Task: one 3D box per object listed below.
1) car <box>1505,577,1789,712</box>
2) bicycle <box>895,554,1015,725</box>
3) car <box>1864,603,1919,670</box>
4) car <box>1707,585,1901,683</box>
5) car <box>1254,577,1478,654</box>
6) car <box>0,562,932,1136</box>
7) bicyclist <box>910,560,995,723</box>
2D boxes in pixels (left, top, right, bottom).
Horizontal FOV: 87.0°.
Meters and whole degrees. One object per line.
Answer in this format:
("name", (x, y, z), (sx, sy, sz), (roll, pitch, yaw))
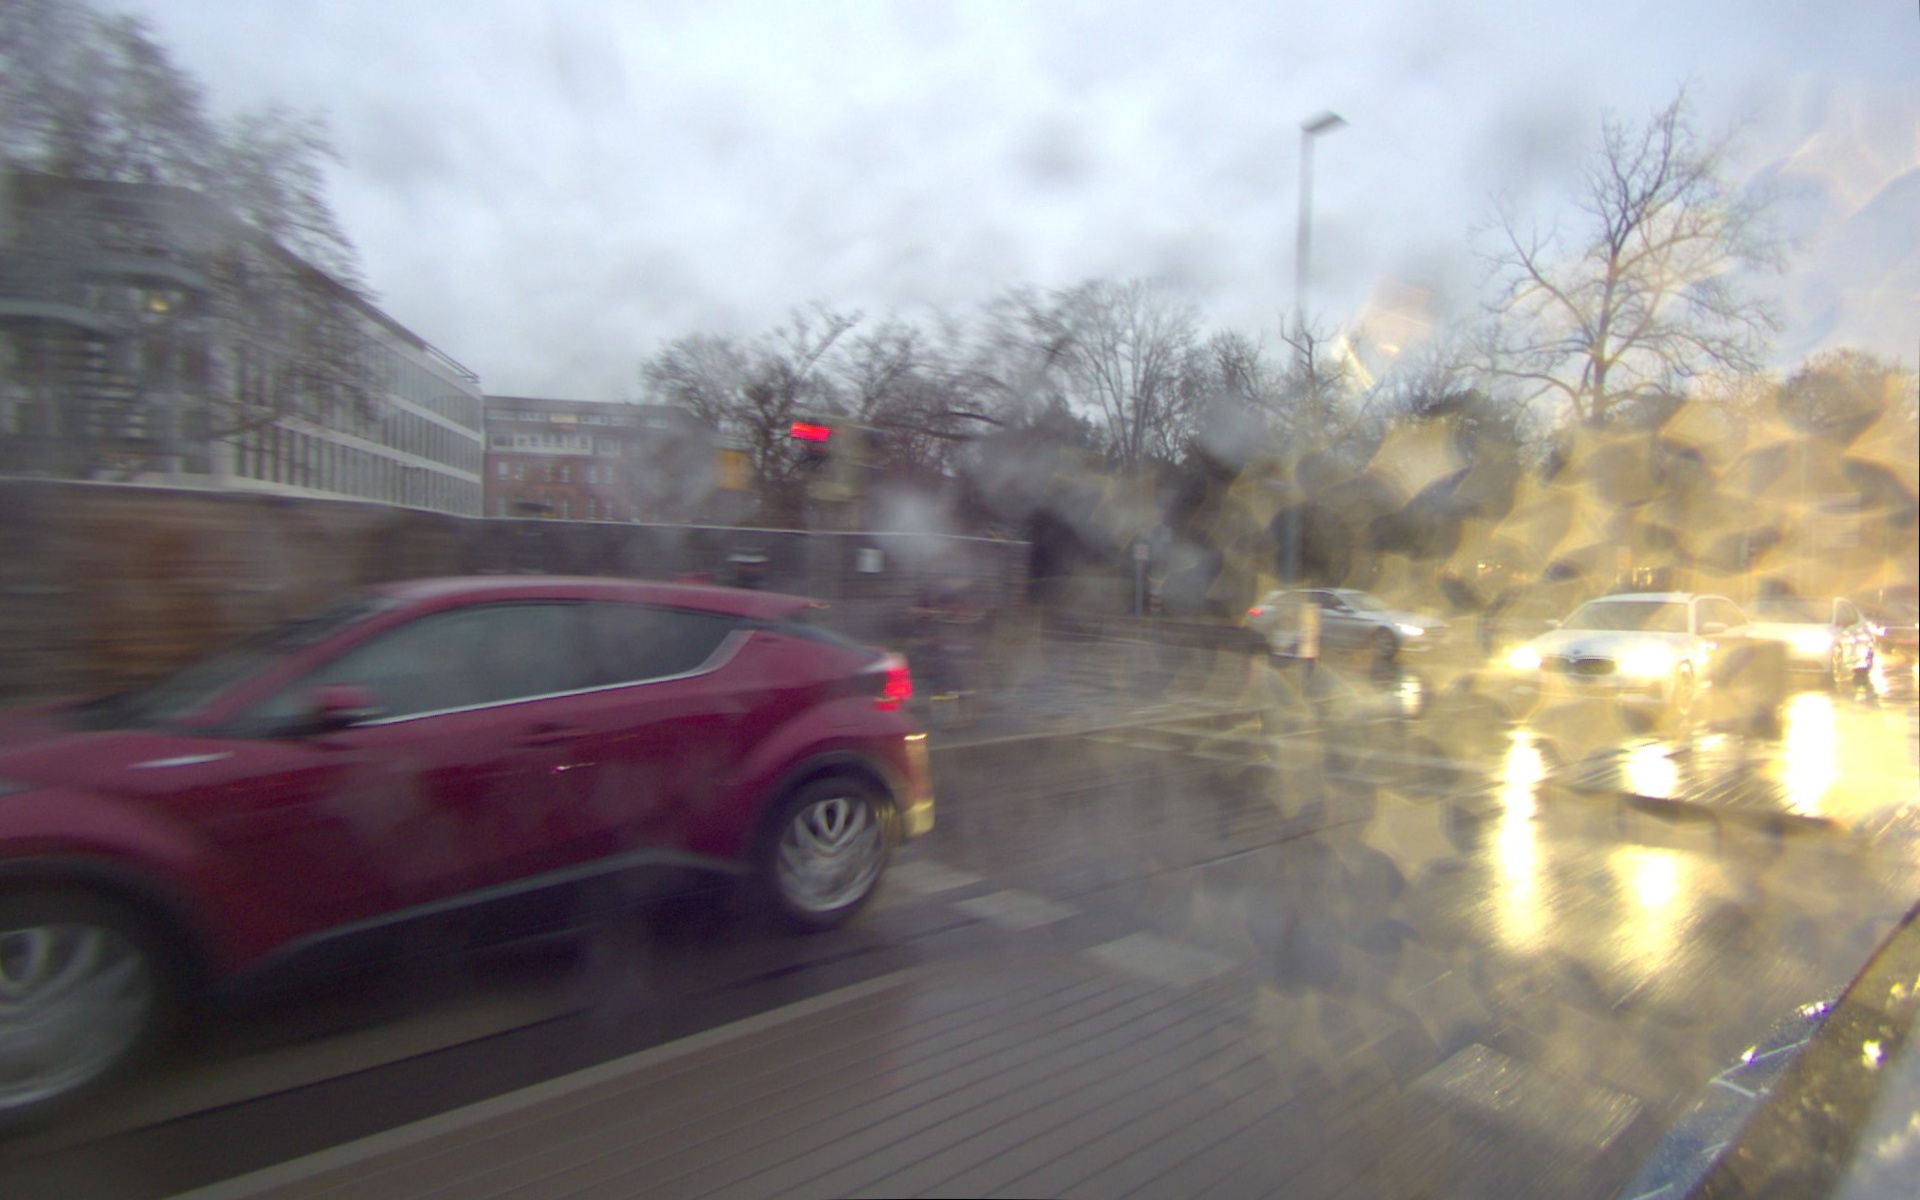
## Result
("car", (9.394, 0.455, 13.679), (4.877, 1.520, 1.791), (-1, 1, -38))
("bicycle", (-0.113, 0.370, 11.126), (0.675, 1.678, 2.252), (-1, 1, -17))
("car", (25.082, 0.915, 26.338), (4.008, 1.516, 1.879), (-2, 3, -42))
("car", (15.057, 0.509, 18.002), (3.966, 1.479, 1.779), (-1, 2, -37))
("car", (9.075, 0.264, 23.034), (1.845, 1.507, 4.522), (0, 2, -32))
("car", (-2.183, 0.621, 4.055), (3.930, 1.498, 1.725), (-2, 1, -40))
("bicyclist", (-0.094, 0.424, 11.062), (0.683, 1.700, 0.820), (0, 1, -19))
